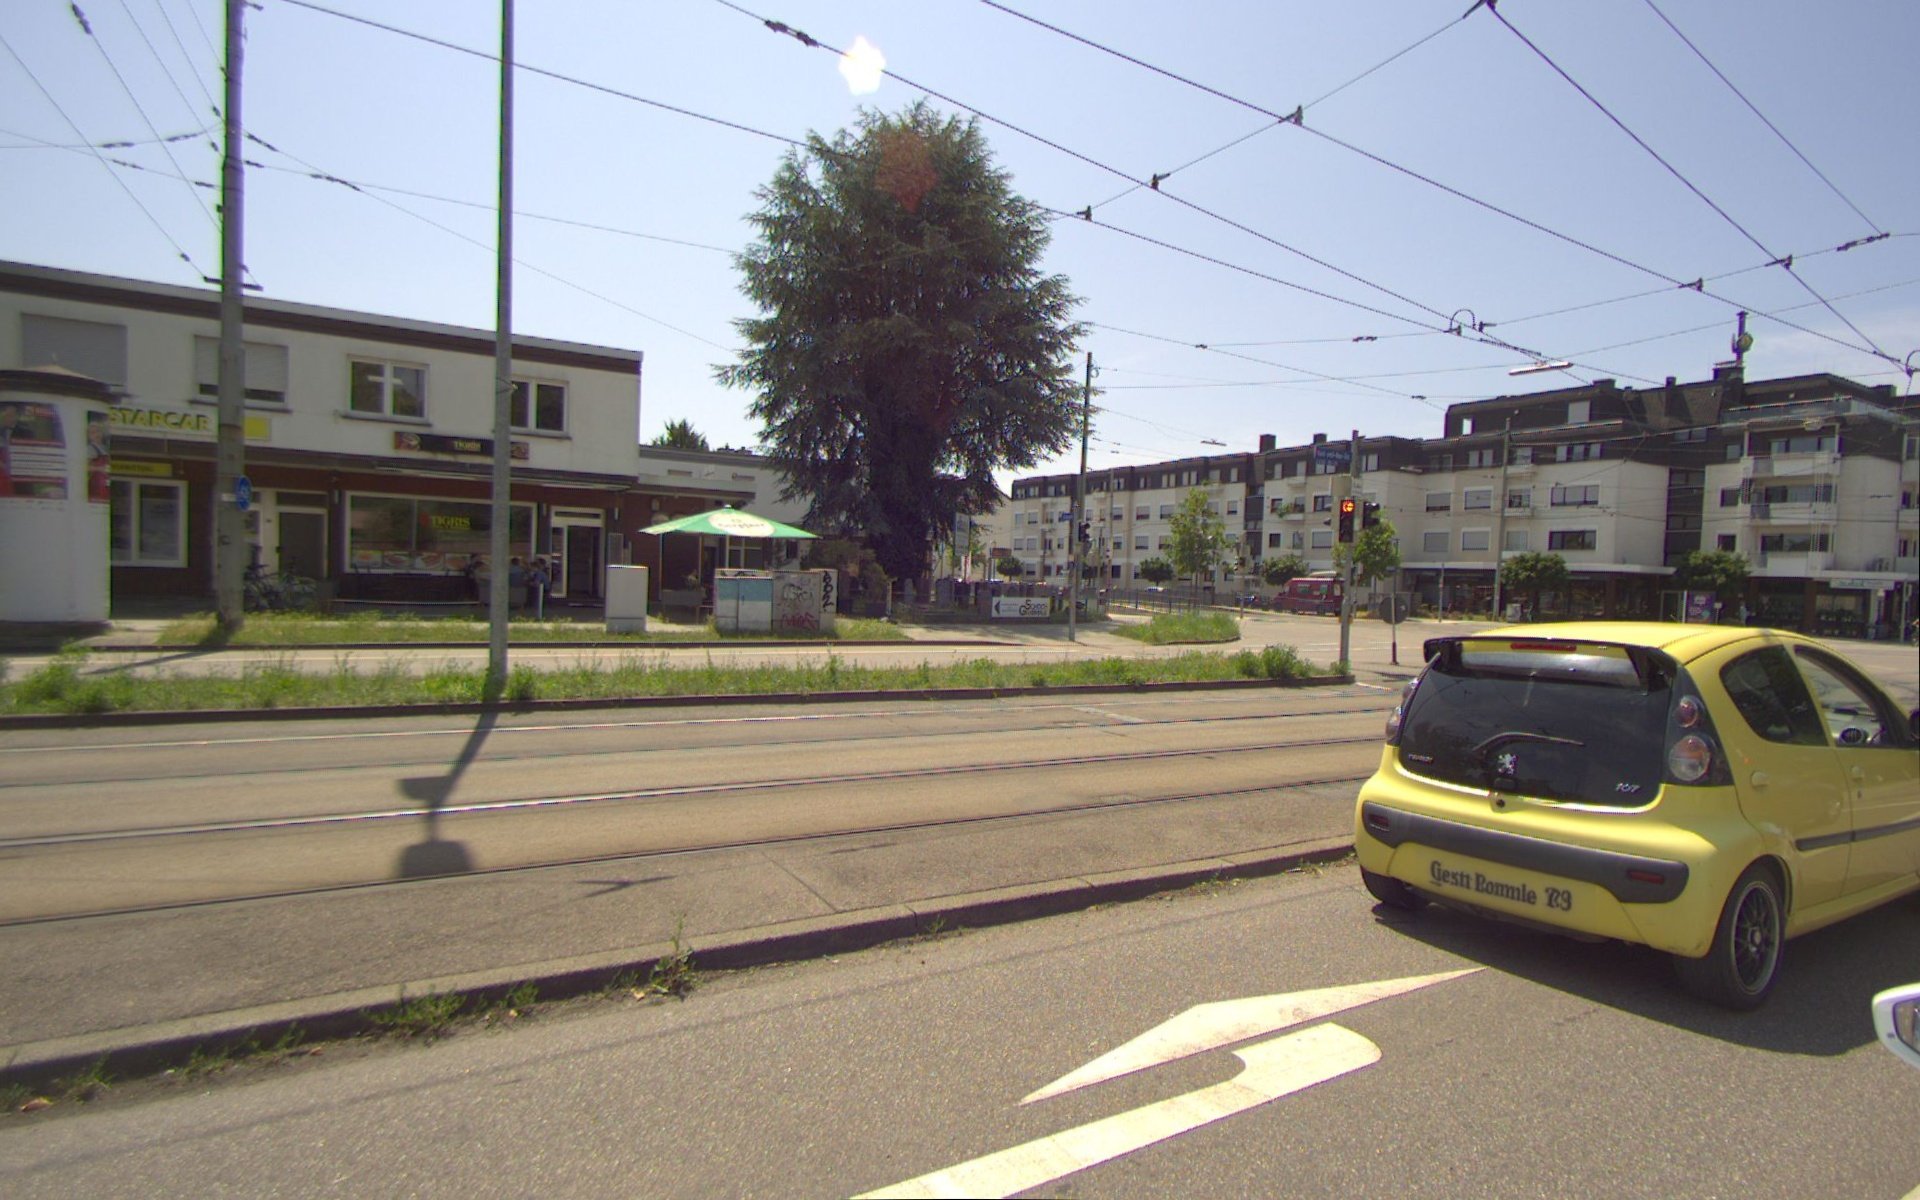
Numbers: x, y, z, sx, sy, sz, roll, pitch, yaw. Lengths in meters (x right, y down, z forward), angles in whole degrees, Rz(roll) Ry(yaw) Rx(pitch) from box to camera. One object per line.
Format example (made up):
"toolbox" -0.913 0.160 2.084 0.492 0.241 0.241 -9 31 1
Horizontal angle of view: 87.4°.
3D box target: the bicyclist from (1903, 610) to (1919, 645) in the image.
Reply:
"bicyclist" 49.024 1.399 51.453 1.124 1.789 0.691 0 2 -31

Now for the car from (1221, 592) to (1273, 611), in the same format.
"car" 20.936 0.119 73.363 1.571 1.235 3.553 1 1 -29

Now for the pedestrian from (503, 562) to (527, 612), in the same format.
"pedestrian" -11.374 -0.334 25.679 0.486 1.255 0.572 1 2 -31

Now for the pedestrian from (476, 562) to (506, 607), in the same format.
"pedestrian" -12.454 -0.407 26.683 0.666 1.179 0.514 1 2 -30

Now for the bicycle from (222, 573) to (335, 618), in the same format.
"bicycle" -14.385 -0.083 21.258 1.936 0.859 0.599 2 4 -31

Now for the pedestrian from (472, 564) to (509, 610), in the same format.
"pedestrian" -12.146 -0.334 26.003 0.801 1.142 0.561 1 2 -30

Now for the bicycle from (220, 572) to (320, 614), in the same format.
"bicycle" -15.201 -0.147 22.171 1.767 0.859 0.525 2 4 -31

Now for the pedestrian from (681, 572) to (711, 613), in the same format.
"pedestrian" -7.502 -0.220 28.531 0.666 1.142 0.514 1 2 -30

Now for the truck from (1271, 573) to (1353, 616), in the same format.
"truck" 23.799 -0.433 68.177 2.161 2.734 5.002 1 1 -29

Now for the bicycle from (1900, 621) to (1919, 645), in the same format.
"bicycle" 48.950 1.685 51.423 1.909 1.164 0.691 0 2 -32

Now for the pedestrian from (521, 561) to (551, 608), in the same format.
"pedestrian" -11.451 -0.424 27.132 0.666 1.225 0.514 1 2 -30

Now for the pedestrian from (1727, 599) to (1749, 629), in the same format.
"pedestrian" 46.251 0.827 59.750 0.792 1.719 0.701 3 1 22

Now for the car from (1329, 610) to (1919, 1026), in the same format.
"car" 3.749 0.814 5.136 3.614 1.440 1.607 2 -1 -31

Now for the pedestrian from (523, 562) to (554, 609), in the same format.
"pedestrian" -11.133 -0.373 26.522 0.666 1.215 0.514 1 2 -30

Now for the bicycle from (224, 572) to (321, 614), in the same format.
"bicycle" -15.483 -0.157 22.669 1.767 0.859 0.525 2 4 -31

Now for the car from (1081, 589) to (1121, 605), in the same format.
"car" 12.216 -0.281 87.265 1.571 1.257 3.553 1 1 -29

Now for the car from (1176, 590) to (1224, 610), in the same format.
"car" 18.433 -0.007 77.370 1.571 1.452 3.553 1 1 -29
